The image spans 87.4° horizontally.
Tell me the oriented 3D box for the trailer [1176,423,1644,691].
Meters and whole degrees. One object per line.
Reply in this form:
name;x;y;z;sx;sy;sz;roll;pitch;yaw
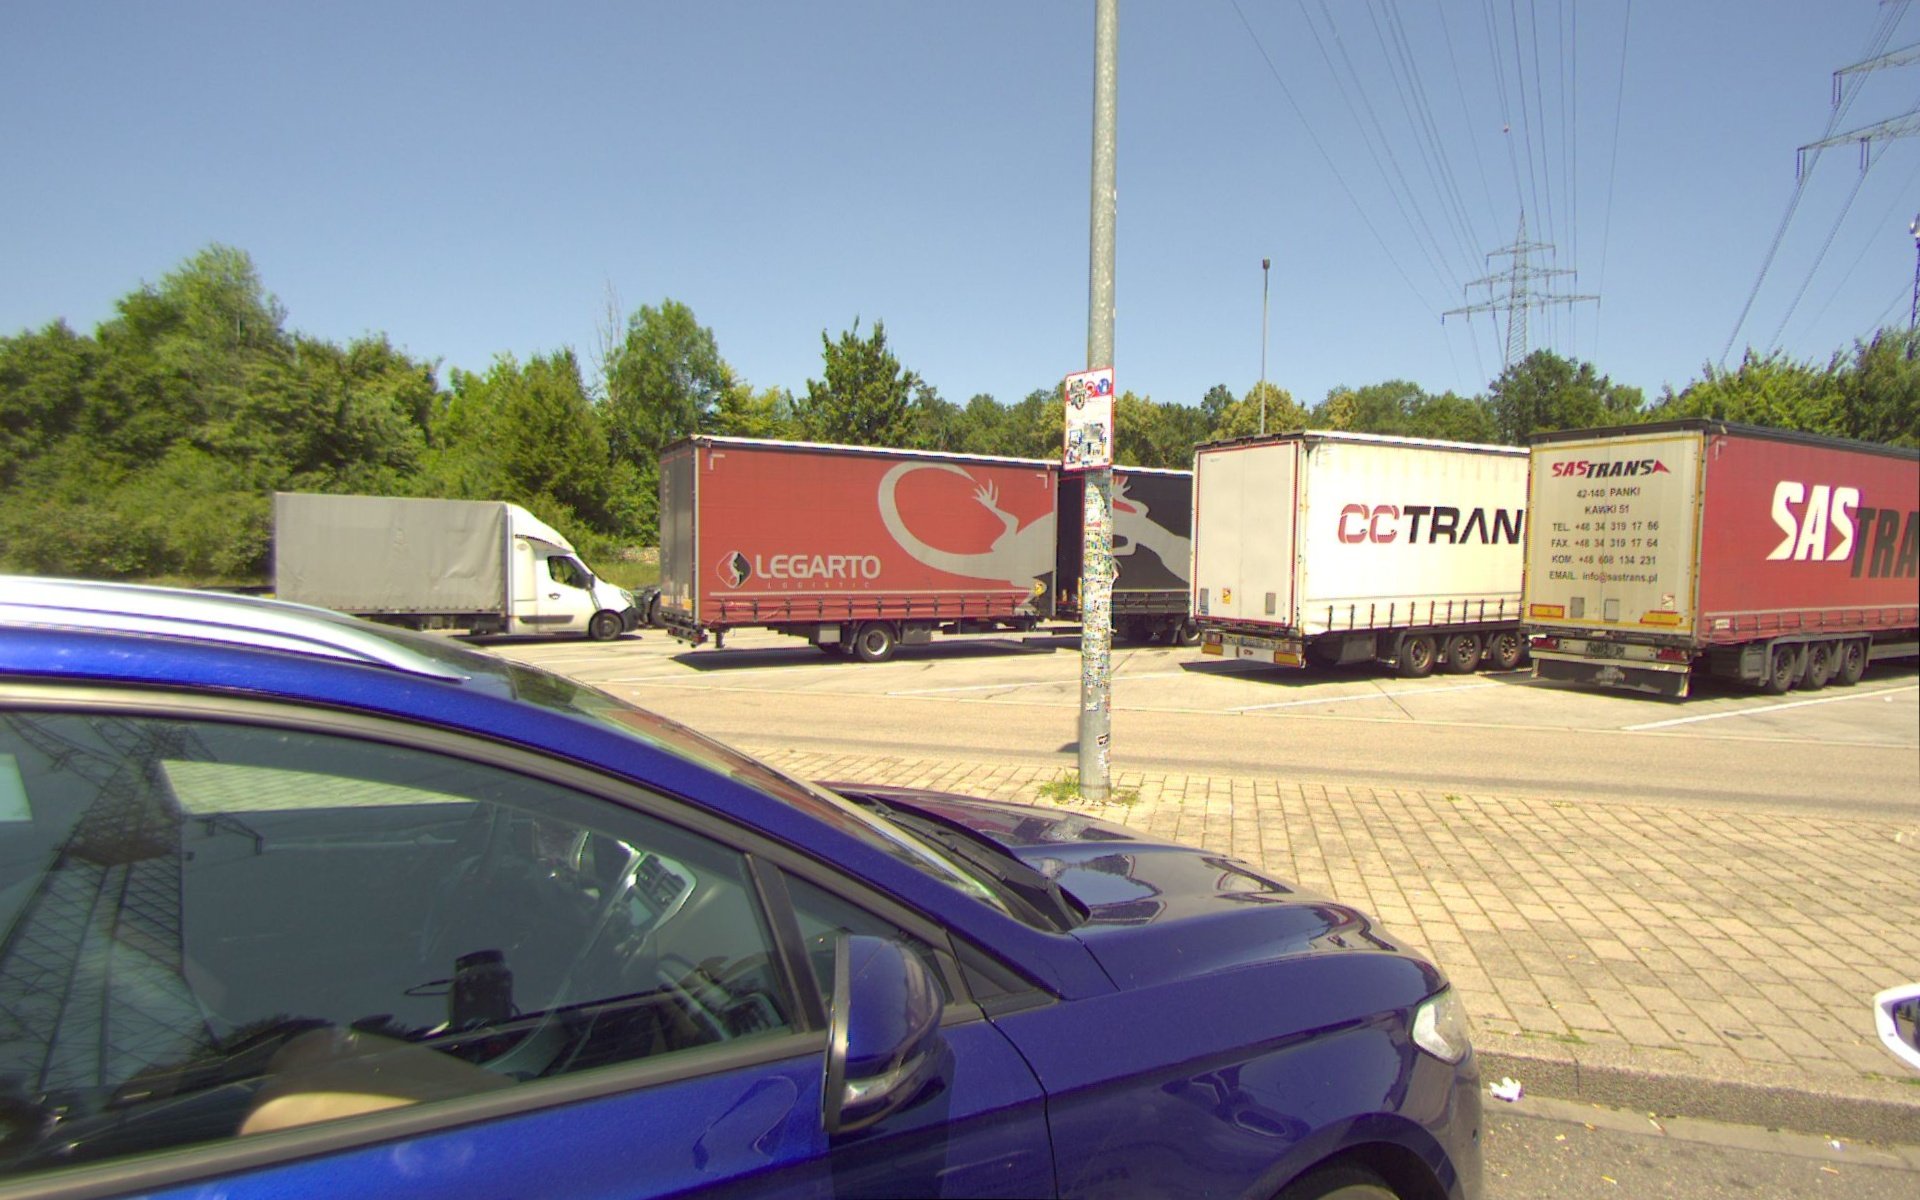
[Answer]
trailer;8.975;-0.768;19.349;10.264;4.158;2.693;-1;3;-30

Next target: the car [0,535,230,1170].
car;-4.409;0.583;2.093;4.522;1.526;1.743;0;2;-32

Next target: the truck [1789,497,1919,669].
truck;21.261;-0.402;22.054;5.903;3.409;2.798;-1;3;-30

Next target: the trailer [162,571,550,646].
trailer;-14.748;0.109;25.237;8.007;1.648;2.199;-1;3;-30

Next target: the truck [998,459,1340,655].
truck;5.274;-0.996;24.544;8.586;4.127;2.693;-1;3;-30

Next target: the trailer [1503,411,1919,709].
trailer;15.469;-0.675;18.616;13.599;4.127;2.807;-1;3;-31

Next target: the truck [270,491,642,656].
truck;-11.236;-0.618;22.998;7.187;3.289;2.694;-1;3;-29

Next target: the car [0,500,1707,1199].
car;-0.968;0.655;1.456;4.522;1.491;1.743;0;2;-32

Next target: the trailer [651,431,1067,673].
trailer;-1.879;-0.900;20.335;8.007;4.127;2.693;-1;3;-30
